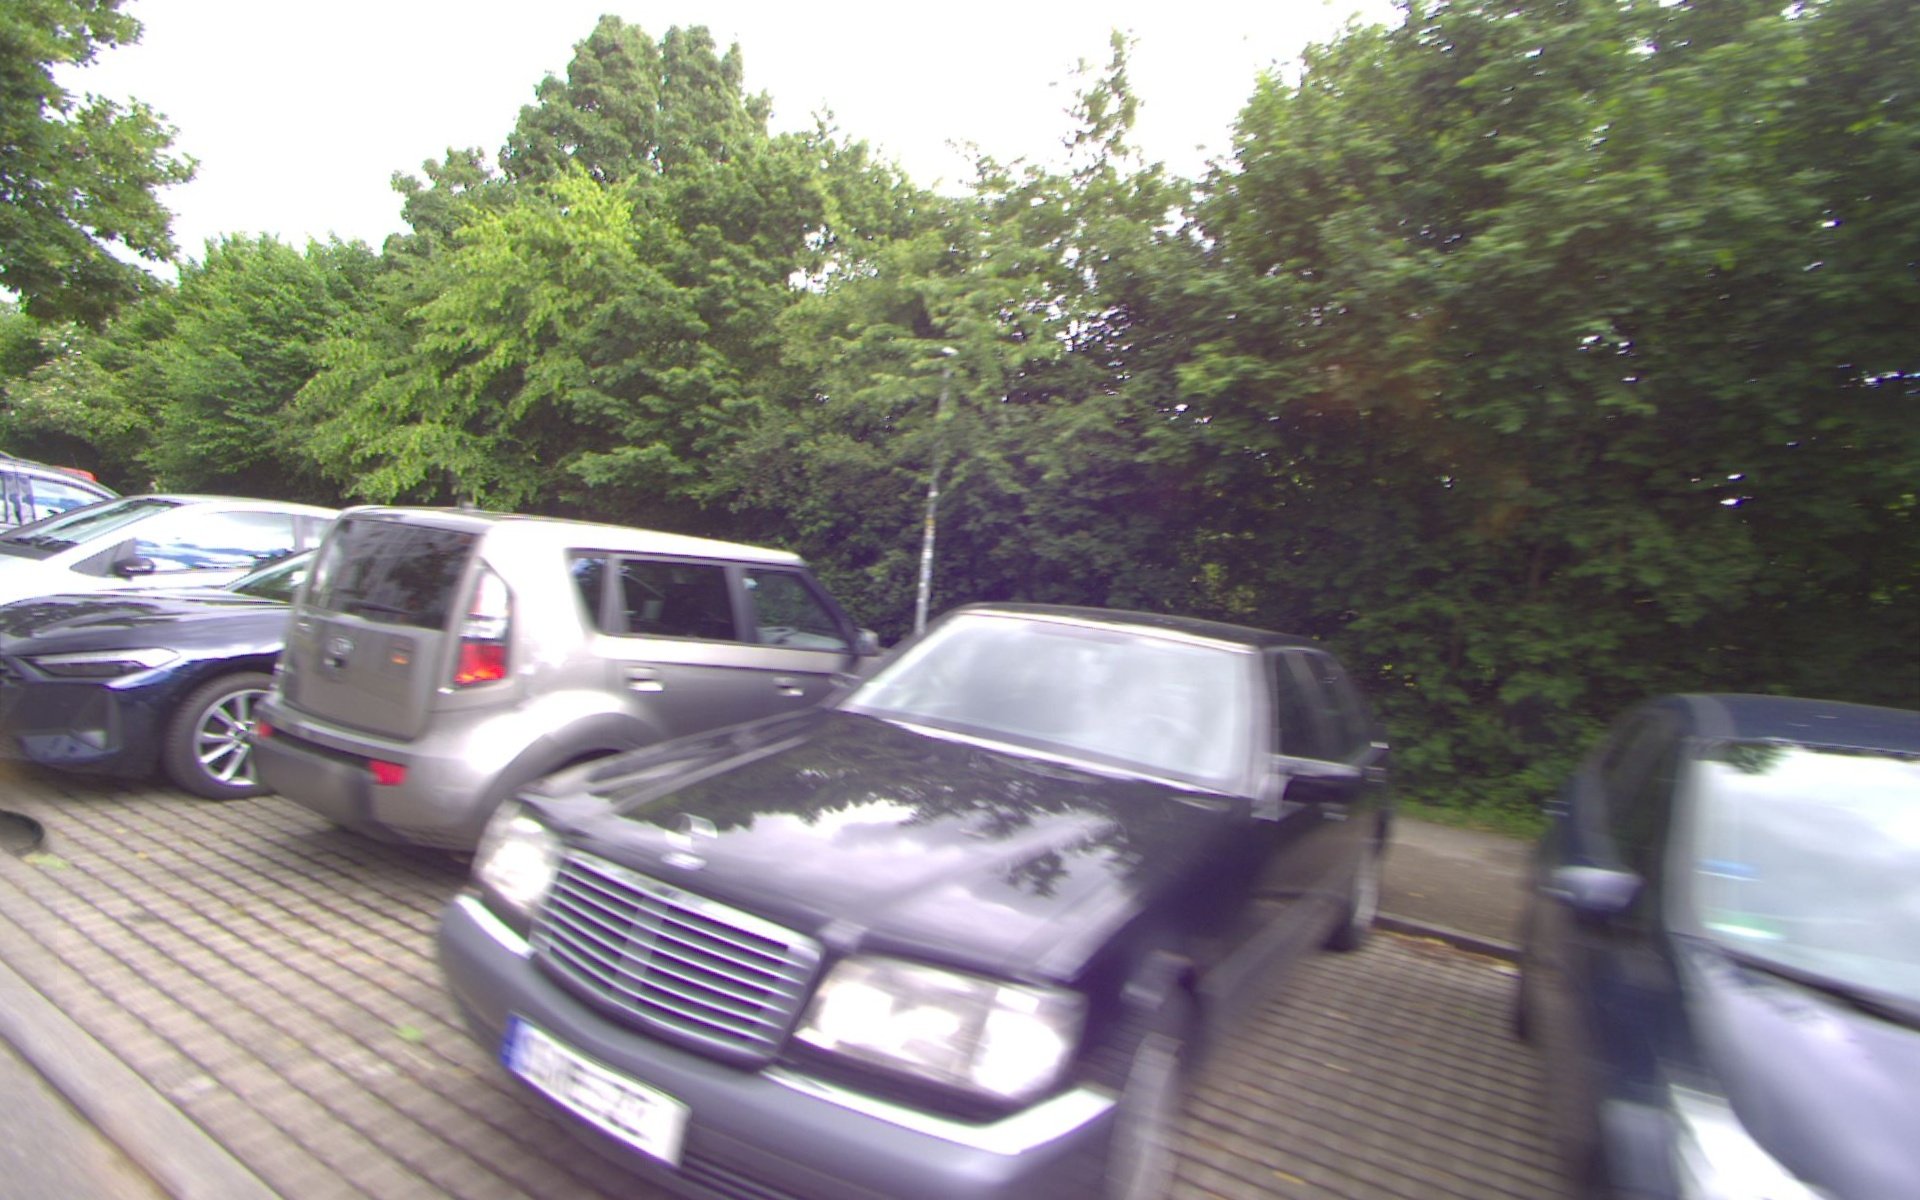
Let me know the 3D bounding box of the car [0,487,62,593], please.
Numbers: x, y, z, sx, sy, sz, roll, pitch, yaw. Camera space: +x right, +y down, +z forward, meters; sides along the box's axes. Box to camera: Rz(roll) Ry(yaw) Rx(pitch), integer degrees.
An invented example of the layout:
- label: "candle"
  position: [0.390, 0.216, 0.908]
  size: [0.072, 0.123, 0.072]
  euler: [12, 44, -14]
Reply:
- label: "car"
  position: [-16.580, -1.195, 14.929]
  size: [1.884, 1.592, 4.387]
  euler: [7, -2, 31]

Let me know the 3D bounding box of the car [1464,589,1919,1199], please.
- label: "car"
  position: [2.482, 0.958, 2.636]
  size: [1.815, 1.536, 4.707]
  euler: [7, 1, 31]

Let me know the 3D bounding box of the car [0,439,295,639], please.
- label: "car"
  position: [-9.980, -0.686, 10.694]
  size: [1.884, 1.929, 4.382]
  euler: [7, 1, 31]

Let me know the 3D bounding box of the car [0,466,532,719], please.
- label: "car"
  position: [-6.043, -0.072, 8.153]
  size: [1.884, 1.597, 4.382]
  euler: [7, 1, 31]

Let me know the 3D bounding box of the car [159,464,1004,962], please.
- label: "car"
  position: [-1.604, 0.419, 5.646]
  size: [1.860, 1.630, 4.069]
  euler: [7, 1, 31]

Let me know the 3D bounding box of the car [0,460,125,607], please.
- label: "car"
  position: [-14.552, -1.153, 13.703]
  size: [1.904, 1.926, 4.387]
  euler: [7, -1, 31]

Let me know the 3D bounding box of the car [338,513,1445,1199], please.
- label: "car"
  position: [0.518, 0.719, 4.095]
  size: [2.023, 1.452, 4.726]
  euler: [7, 1, 32]

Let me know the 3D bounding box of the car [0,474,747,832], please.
- label: "car"
  position: [-3.866, 0.220, 6.882]
  size: [2.075, 1.518, 4.732]
  euler: [7, 1, 28]
